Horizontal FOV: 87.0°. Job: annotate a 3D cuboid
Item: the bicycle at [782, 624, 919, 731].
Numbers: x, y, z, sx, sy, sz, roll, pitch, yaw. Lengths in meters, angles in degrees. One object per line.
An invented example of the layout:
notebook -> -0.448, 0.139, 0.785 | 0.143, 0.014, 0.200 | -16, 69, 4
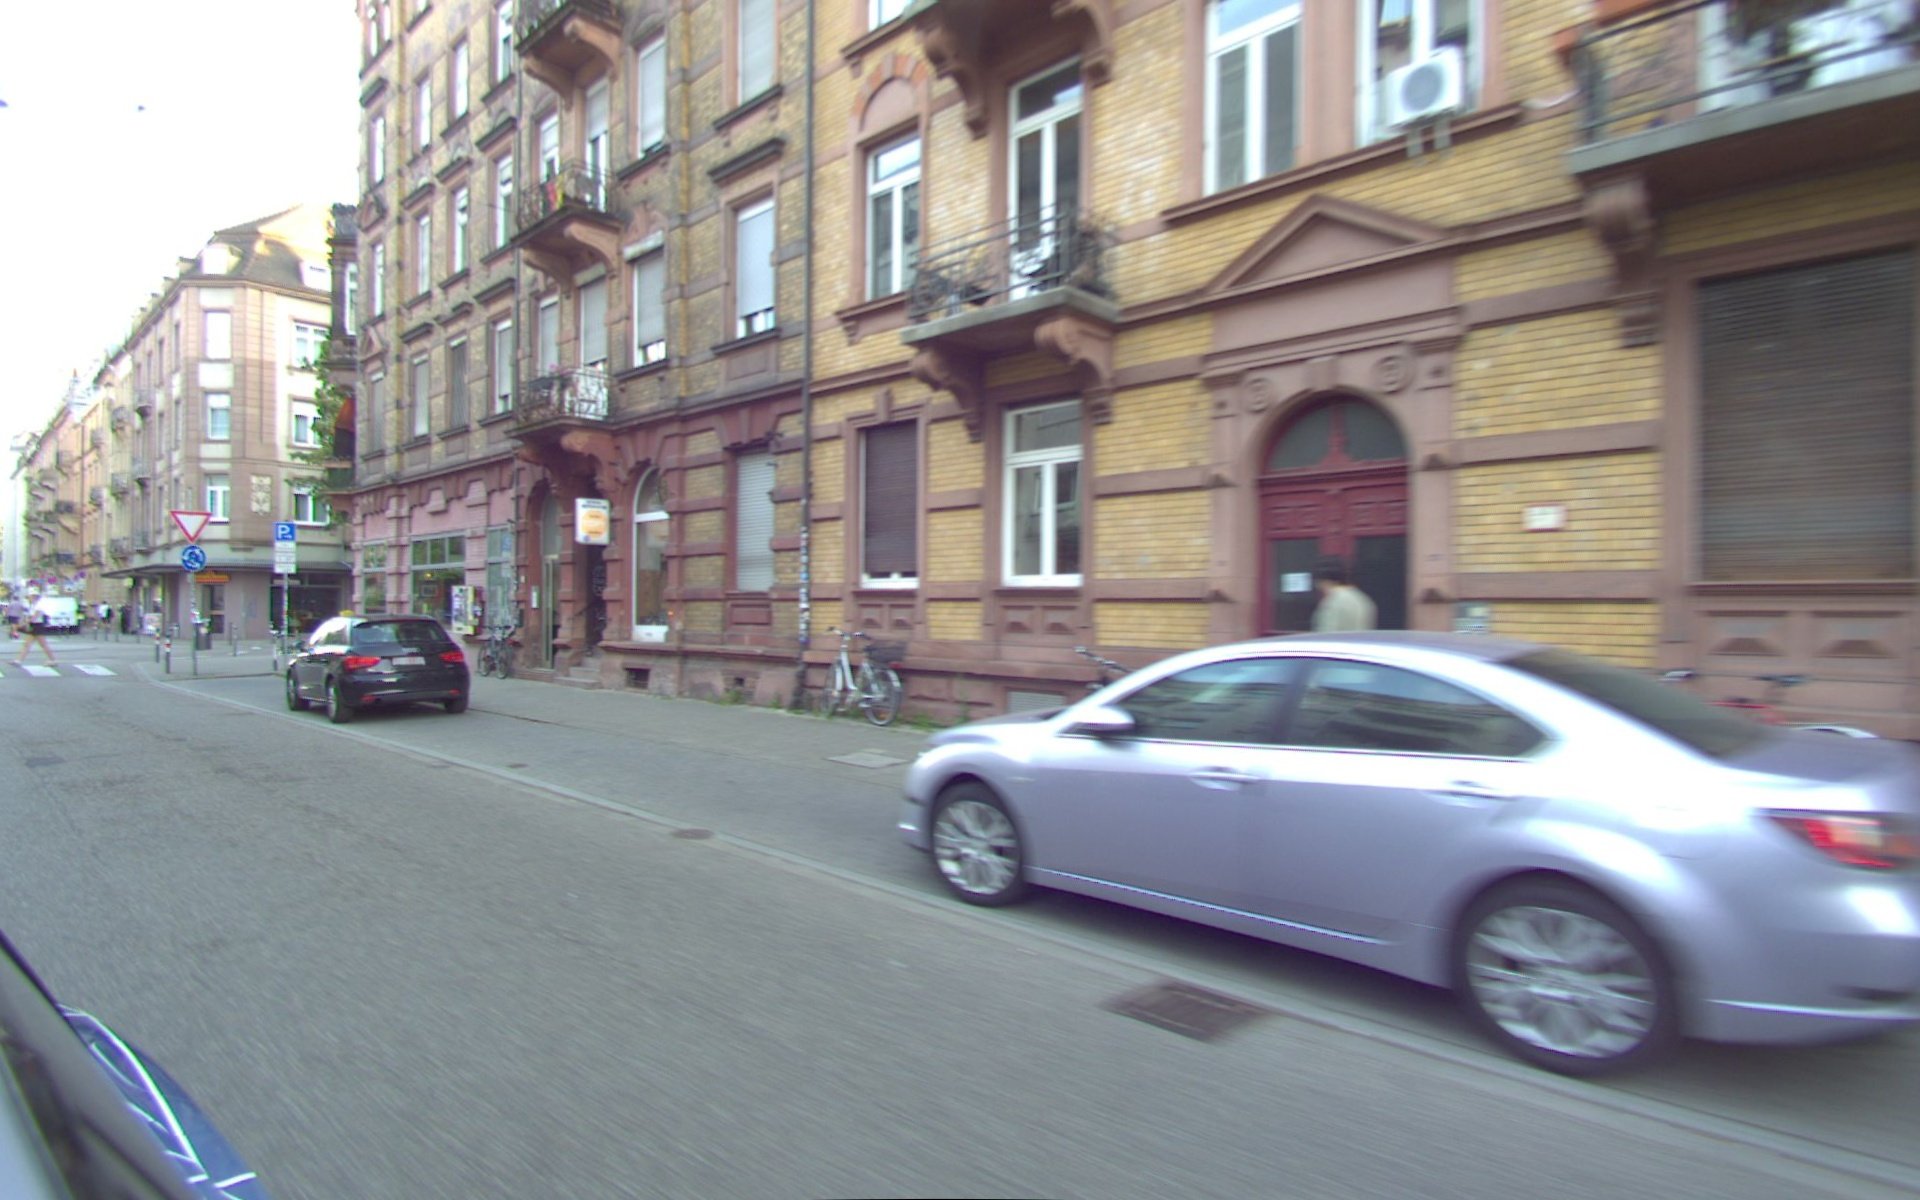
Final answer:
bicycle -> -1.381, 0.900, 12.421 | 0.521, 1.180, 2.049 | -2, 1, -43

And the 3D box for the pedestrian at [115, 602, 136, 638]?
pedestrian -> -42.293, 0.993, 51.294 | 0.644, 1.792, 0.694 | -1, -1, -28

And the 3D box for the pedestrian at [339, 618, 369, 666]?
pedestrian -> -15.324, 1.052, 25.588 | 0.497, 1.152, 0.792 | 0, 1, -45

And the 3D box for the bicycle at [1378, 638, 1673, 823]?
bicycle -> 4.018, 0.867, 7.298 | 1.760, 1.132, 0.543 | -1, 1, 44

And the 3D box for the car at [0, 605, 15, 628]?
car -> -79.045, 1.375, 82.922 | 4.542, 1.835, 2.112 | -1, 0, 44

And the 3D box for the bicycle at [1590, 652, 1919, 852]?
bicycle -> 5.024, 0.885, 6.320 | 1.760, 1.045, 0.543 | -1, 1, 44

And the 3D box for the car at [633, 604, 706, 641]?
car -> -15.444, 1.174, 53.677 | 4.001, 1.852, 1.971 | 1, -1, 44

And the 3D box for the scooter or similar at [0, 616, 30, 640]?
scooter or similar -> -44.283, 1.312, 47.425 | 1.169, 1.112, 0.800 | -1, -2, 35

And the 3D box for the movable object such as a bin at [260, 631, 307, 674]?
movable object such as a bin -> -15.734, 1.207, 23.534 | 0.729, 0.922, 0.753 | 1, 1, 40

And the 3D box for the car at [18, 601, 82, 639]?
car -> -49.550, 1.047, 55.064 | 4.769, 1.973, 2.113 | 0, 0, 42

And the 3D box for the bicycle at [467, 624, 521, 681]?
bicycle -> -9.323, 1.021, 20.211 | 0.420, 1.061, 1.900 | 0, 0, -43

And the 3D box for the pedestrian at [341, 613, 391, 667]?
pedestrian -> -14.576, 0.987, 24.848 | 0.904, 1.264, 0.644 | -2, 2, 28

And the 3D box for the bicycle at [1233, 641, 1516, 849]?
bicycle -> 2.900, 0.947, 7.234 | 0.699, 1.205, 1.745 | 0, 1, -40

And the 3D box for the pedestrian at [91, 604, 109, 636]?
pedestrian -> -47.272, 1.088, 55.635 | 0.737, 1.757, 1.215 | -1, 0, -39

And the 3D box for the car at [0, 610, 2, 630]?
car -> -89.437, 1.853, 93.034 | 1.970, 1.752, 4.004 | 0, 1, -43

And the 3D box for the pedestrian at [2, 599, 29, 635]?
pedestrian -> -44.279, 0.816, 47.435 | 0.671, 1.672, 0.800 | -1, -2, 35

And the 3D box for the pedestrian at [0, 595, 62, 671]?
pedestrian -> -22.867, 0.808, 24.934 | 1.032, 1.825, 0.757 | -1, -2, -36

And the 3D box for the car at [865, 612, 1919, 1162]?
car -> 1.708, 0.799, 4.754 | 4.583, 1.431, 1.704 | 0, 1, 44

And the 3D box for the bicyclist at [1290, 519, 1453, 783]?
bicyclist -> 2.926, 0.331, 7.214 | 0.699, 1.742, 0.844 | 0, 1, -40

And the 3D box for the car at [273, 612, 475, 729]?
car -> -8.599, 0.920, 14.712 | 1.674, 1.431, 3.857 | -1, 0, -44

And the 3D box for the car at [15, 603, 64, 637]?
car -> -53.974, 1.163, 59.323 | 4.328, 1.918, 1.853 | -1, 0, 44

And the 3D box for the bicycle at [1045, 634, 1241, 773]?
bicycle -> 1.670, 0.901, 9.336 | 1.608, 1.132, 0.731 | -1, 0, 37
